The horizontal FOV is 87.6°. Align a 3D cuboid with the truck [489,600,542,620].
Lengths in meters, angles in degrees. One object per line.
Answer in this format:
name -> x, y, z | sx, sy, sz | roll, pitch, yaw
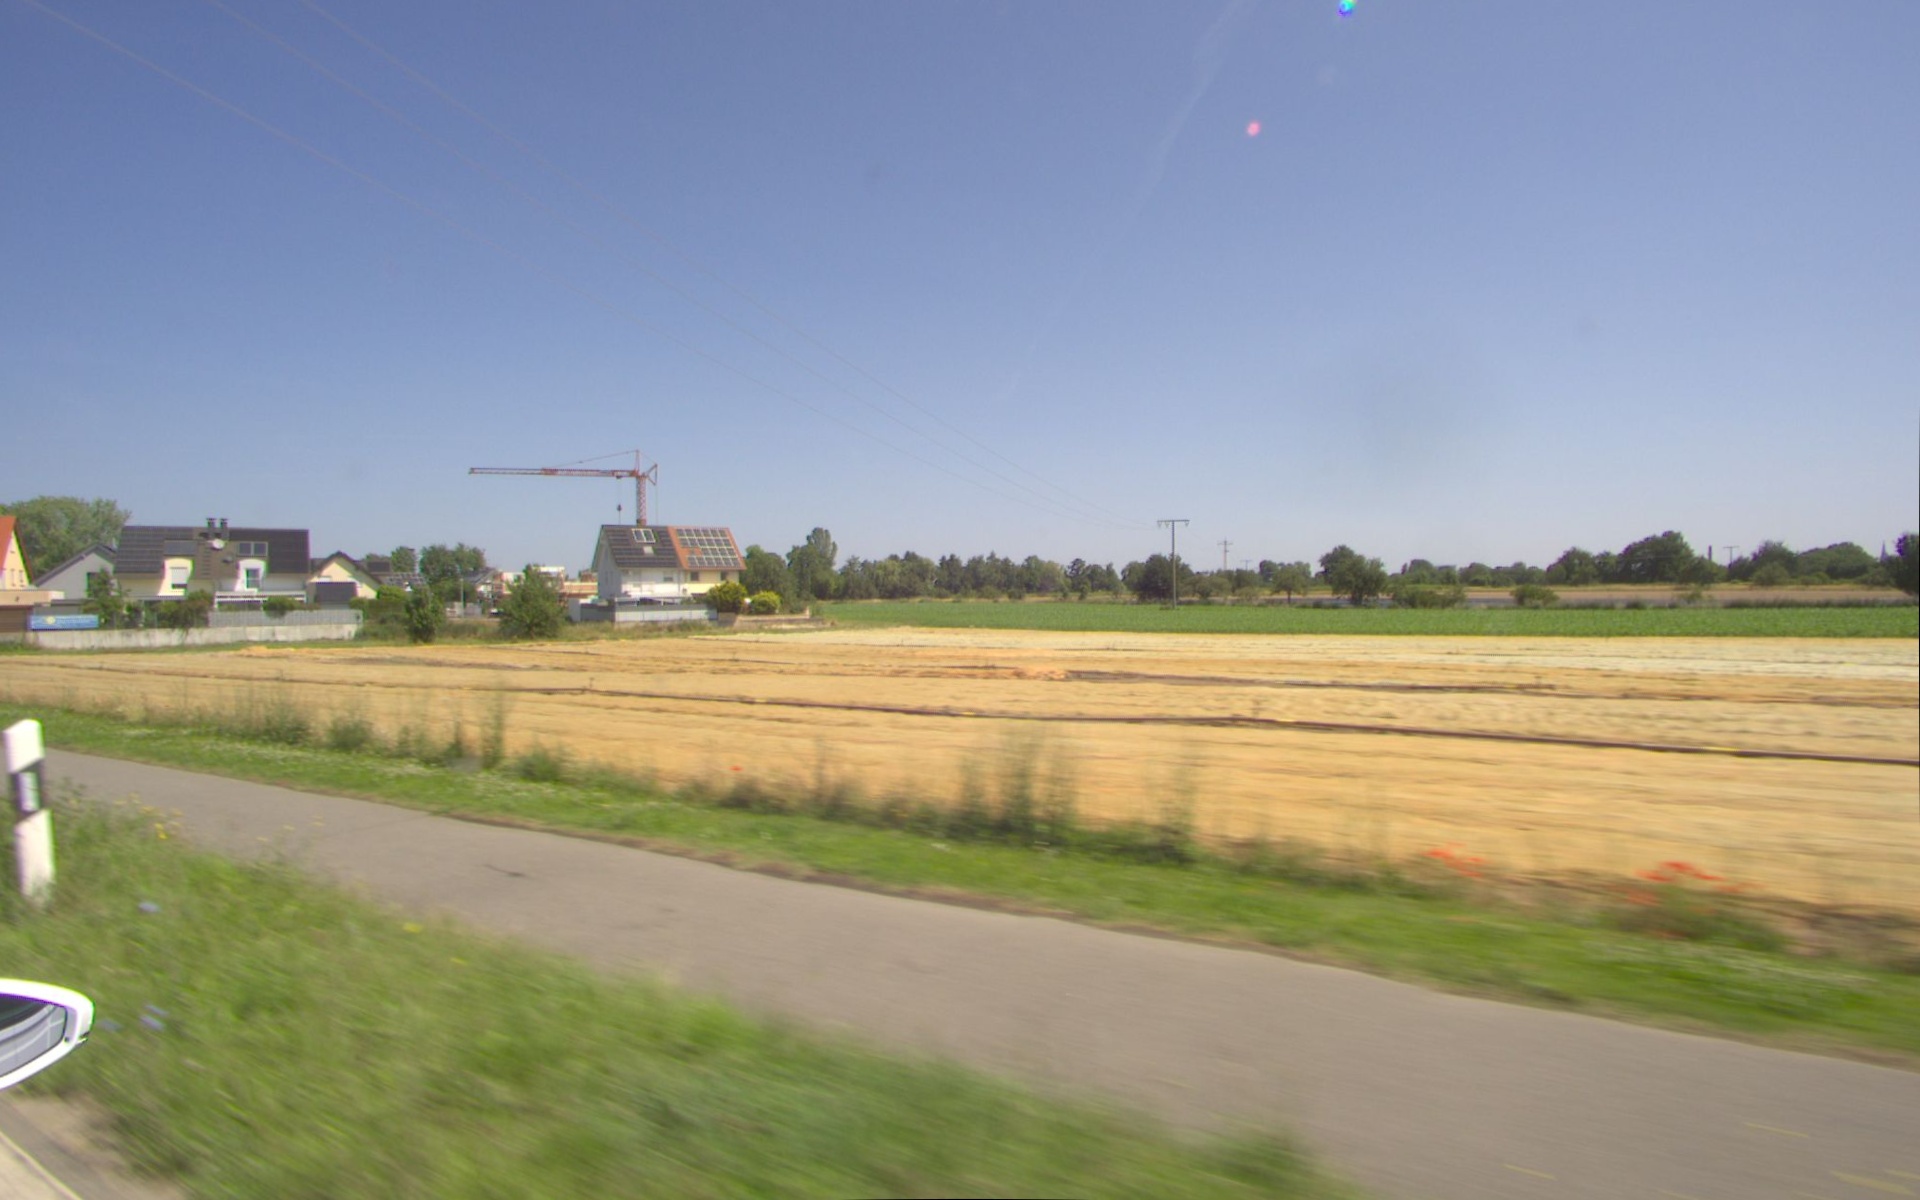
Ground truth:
truck -> -53.463, 1.213, 120.438 | 5.496, 2.260, 2.201 | -2, 1, -33
